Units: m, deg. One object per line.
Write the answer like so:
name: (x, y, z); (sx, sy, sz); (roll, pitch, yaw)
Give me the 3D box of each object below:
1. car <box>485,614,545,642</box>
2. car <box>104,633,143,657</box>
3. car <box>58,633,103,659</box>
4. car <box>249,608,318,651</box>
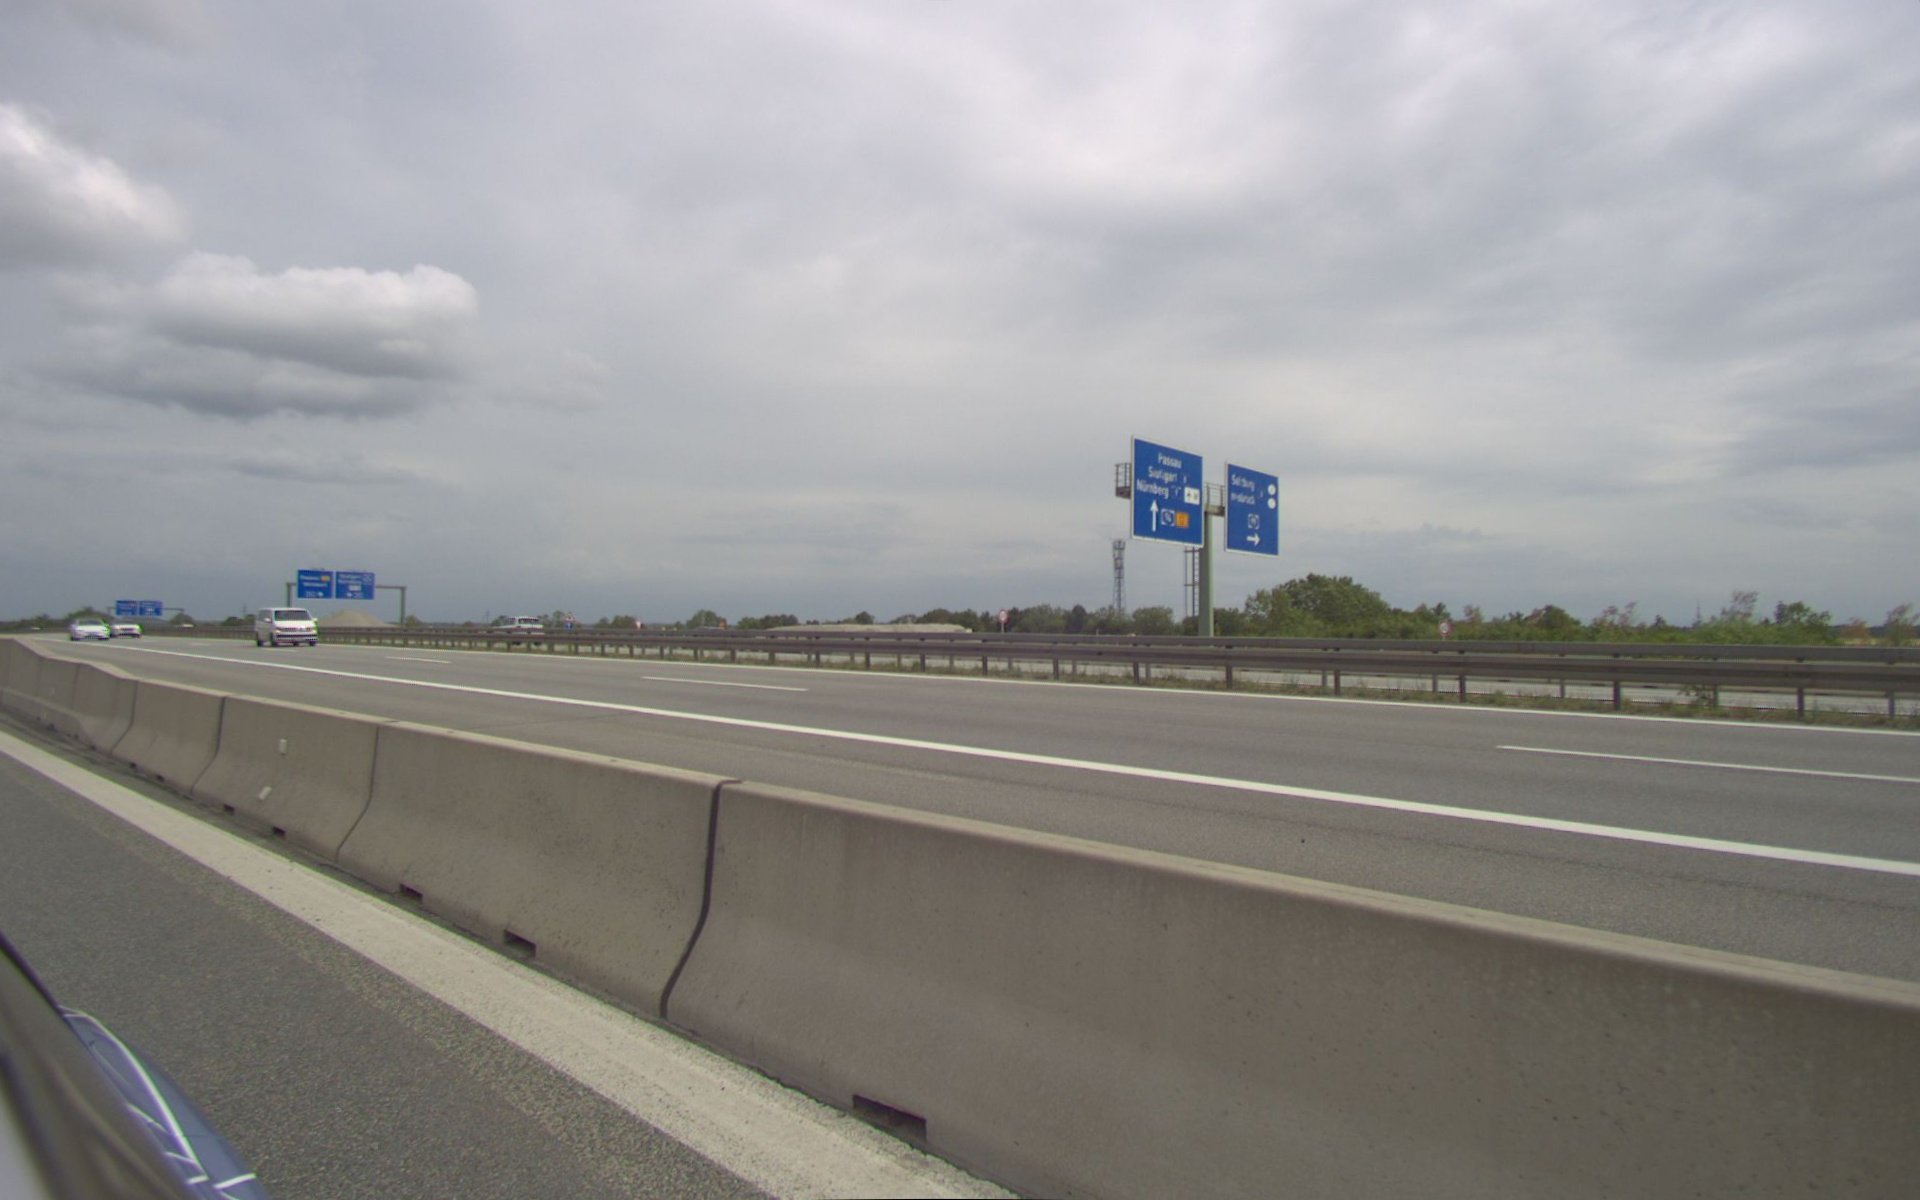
car: (-27.082, 1.714, 61.497); (4.517, 1.635, 1.724); (-3, -2, 44)
car: (-70.511, 3.764, 85.303); (3.999, 1.896, 1.972); (-3, -2, 42)
car: (-63.805, 3.310, 73.412); (3.999, 1.763, 1.972); (-3, -2, 42)
car: (-34.117, 1.497, 50.996); (4.467, 2.029, 1.971); (-3, -2, 44)
